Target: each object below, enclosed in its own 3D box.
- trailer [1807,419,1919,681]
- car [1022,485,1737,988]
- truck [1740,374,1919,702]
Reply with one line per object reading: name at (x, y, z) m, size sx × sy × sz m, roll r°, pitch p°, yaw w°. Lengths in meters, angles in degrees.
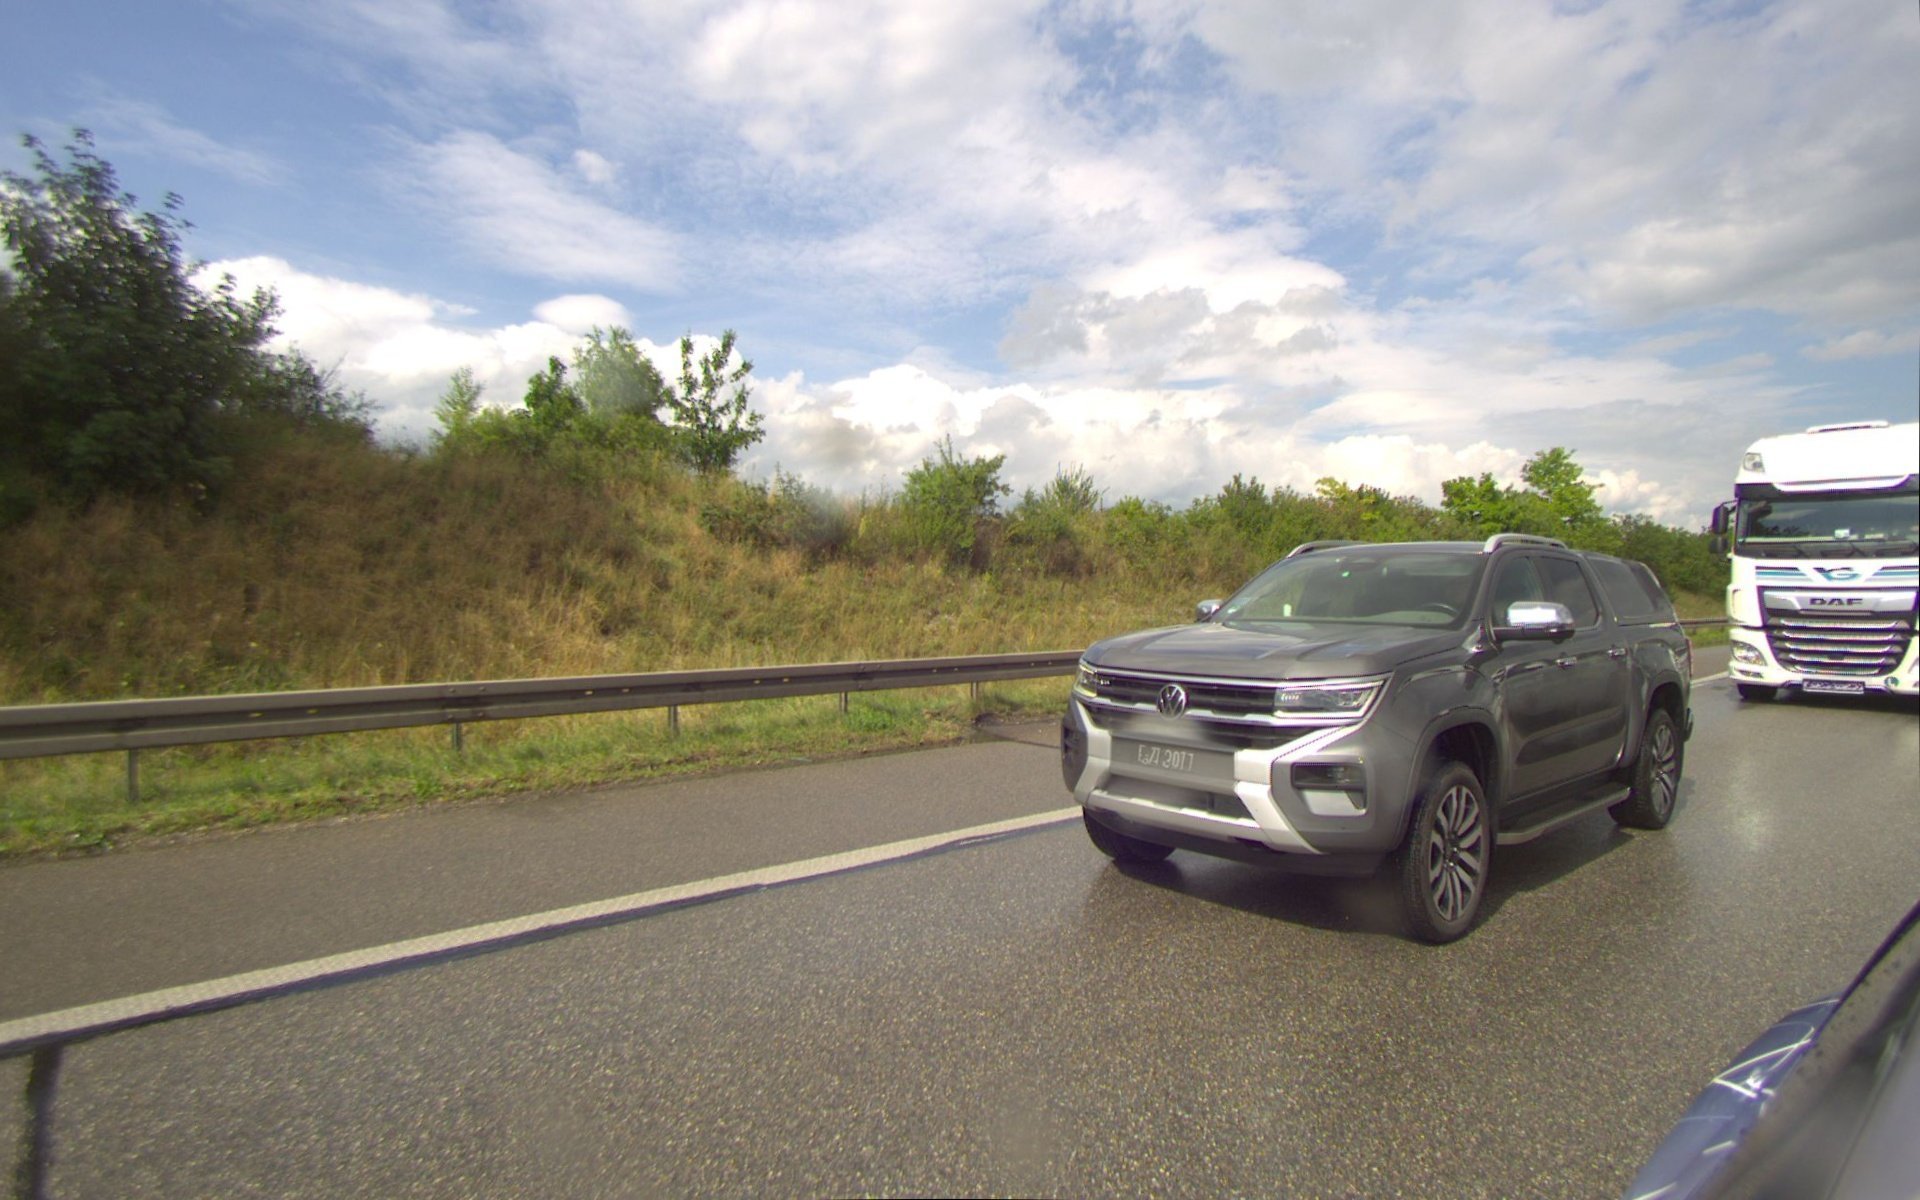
trailer at (19.696, -0.847, 20.150) m, size 12.002 × 4.171 × 2.449 m, roll -1°, pitch 0°, yaw -41°
car at (2.872, 0.472, 6.077) m, size 5.212 × 1.826 × 1.830 m, roll 0°, pitch 1°, yaw -41°
truck at (13.766, -0.790, 15.022) m, size 5.239 × 4.156 × 2.458 m, roll 0°, pitch 0°, yaw -41°
